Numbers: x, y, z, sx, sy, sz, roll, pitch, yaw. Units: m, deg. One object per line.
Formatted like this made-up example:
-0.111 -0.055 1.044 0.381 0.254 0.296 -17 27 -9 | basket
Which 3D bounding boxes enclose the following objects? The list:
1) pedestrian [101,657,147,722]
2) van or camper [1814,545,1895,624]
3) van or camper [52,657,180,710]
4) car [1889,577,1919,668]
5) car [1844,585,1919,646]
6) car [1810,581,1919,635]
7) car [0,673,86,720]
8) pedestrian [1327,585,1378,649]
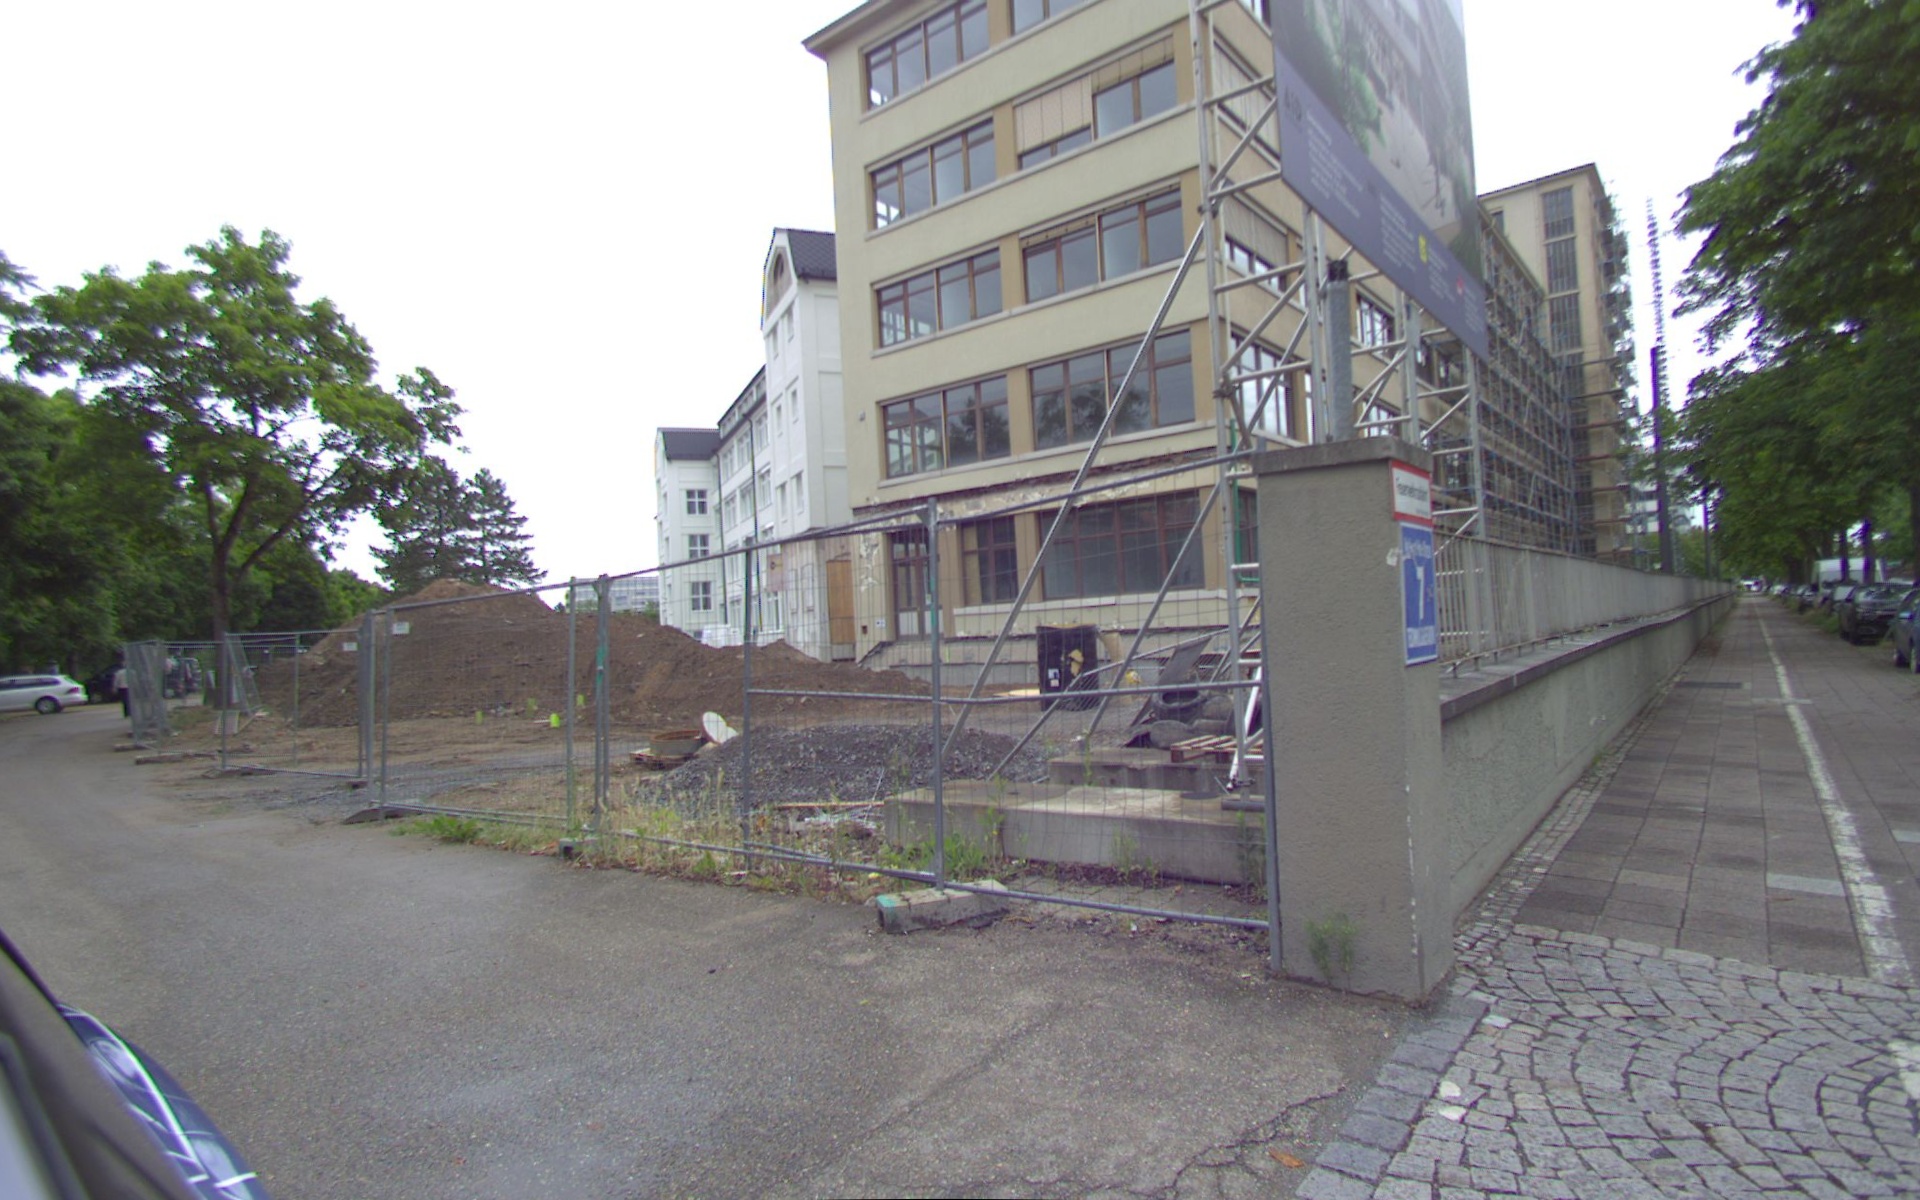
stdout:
-24.074 2.572 29.156 0.657 1.795 0.747 -3 -2 16 | pedestrian
34.303 -0.580 38.784 2.001 2.773 3.942 -5 -2 44 | van or camper
-41.394 4.063 49.777 4.423 2.275 2.006 -2 -2 -23 | van or camper
16.428 0.288 16.236 1.831 1.429 3.949 -4 -2 38 | car
23.052 0.329 24.669 1.997 1.320 3.948 -5 -2 38 | car
25.418 0.202 28.530 1.997 1.320 3.948 -5 -2 38 | car
-35.748 3.685 38.325 3.822 1.586 1.756 -2 -2 -35 | car
9.284 0.408 23.943 0.978 1.448 0.922 -3 -2 27 | pedestrian
